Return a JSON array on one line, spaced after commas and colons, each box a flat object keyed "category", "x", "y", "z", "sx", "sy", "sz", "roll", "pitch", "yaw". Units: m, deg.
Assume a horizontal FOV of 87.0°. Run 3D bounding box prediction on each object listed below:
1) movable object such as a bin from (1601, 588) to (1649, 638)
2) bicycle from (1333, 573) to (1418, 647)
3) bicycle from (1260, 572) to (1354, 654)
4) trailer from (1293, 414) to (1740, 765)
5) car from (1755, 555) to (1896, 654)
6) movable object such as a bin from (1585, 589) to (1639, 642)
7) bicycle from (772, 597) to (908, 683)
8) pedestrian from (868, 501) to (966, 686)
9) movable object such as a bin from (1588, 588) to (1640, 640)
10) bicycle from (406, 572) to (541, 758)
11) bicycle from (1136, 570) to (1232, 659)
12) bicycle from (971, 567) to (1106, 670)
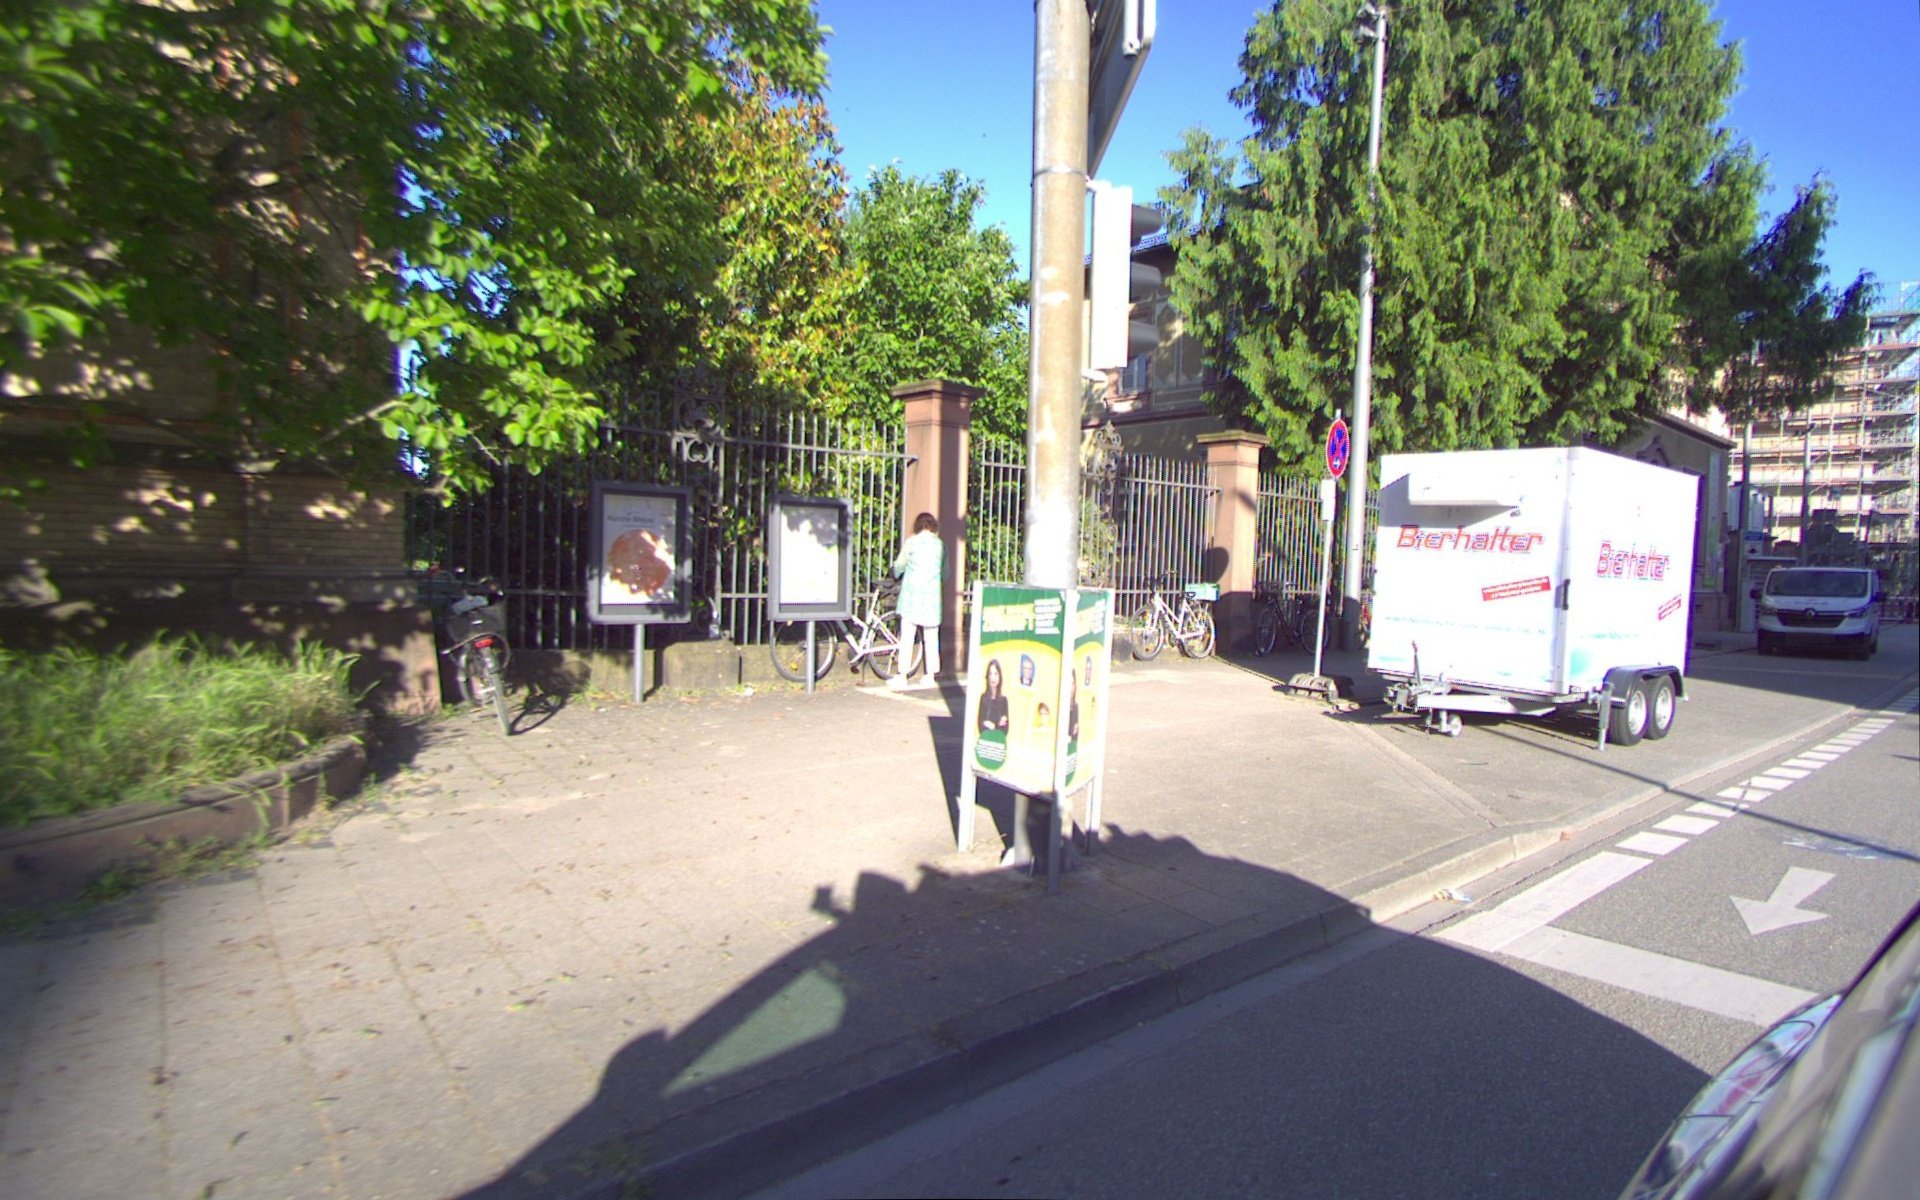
[{"category": "movable object such as a bin", "x": 15.097, "y": 0.289, "z": 22.984, "sx": 0.552, "sy": 1.086, "sz": 0.732, "roll": 0, "pitch": 3, "yaw": -39}, {"category": "bicycle", "x": 7.008, "y": 0.152, "z": 17.034, "sx": 1.793, "sy": 1.170, "sz": 0.420, "roll": 0, "pitch": 4, "yaw": -38}, {"category": "bicycle", "x": 5.172, "y": 0.168, "z": 15.025, "sx": 1.894, "sy": 1.144, "sz": 0.396, "roll": -1, "pitch": 3, "yaw": -41}, {"category": "trailer", "x": 5.394, "y": -0.163, "z": 9.593, "sx": 4.411, "sy": 2.558, "sz": 2.085, "roll": 0, "pitch": 4, "yaw": -39}, {"category": "car", "x": 19.487, "y": 0.013, "z": 22.689, "sx": 2.015, "sy": 1.969, "sz": 5.394, "roll": 1, "pitch": 2, "yaw": 44}, {"category": "movable object such as a bin", "x": 14.191, "y": 0.325, "z": 22.031, "sx": 0.561, "sy": 1.086, "sz": 0.795, "roll": 0, "pitch": 3, "yaw": -39}, {"category": "bicycle", "x": -1.187, "y": 0.377, "z": 10.198, "sx": 1.425, "sy": 0.803, "sz": 0.264, "roll": 0, "pitch": 3, "yaw": -40}, {"category": "pedestrian", "x": -0.441, "y": -0.078, "z": 10.233, "sx": 0.724, "sy": 1.790, "sz": 0.641, "roll": 0, "pitch": 2, "yaw": -37}, {"category": "movable object such as a bin", "x": 14.609, "y": 0.296, "z": 22.608, "sx": 0.525, "sy": 1.086, "sz": 0.795, "roll": 0, "pitch": 3, "yaw": -39}, {"category": "bicycle", "x": -3.266, "y": 0.371, "z": 6.738, "sx": 0.470, "sy": 1.051, "sz": 1.470, "roll": 0, "pitch": 3, "yaw": -39}, {"category": "bicycle", "x": 2.998, "y": 0.181, "z": 13.486, "sx": 1.503, "sy": 1.119, "sz": 0.275, "roll": 0, "pitch": 4, "yaw": -36}, {"category": "bicycle", "x": 0.934, "y": 0.198, "z": 11.757, "sx": 1.649, "sy": 1.119, "sz": 0.400, "roll": 0, "pitch": 4, "yaw": -36}]
